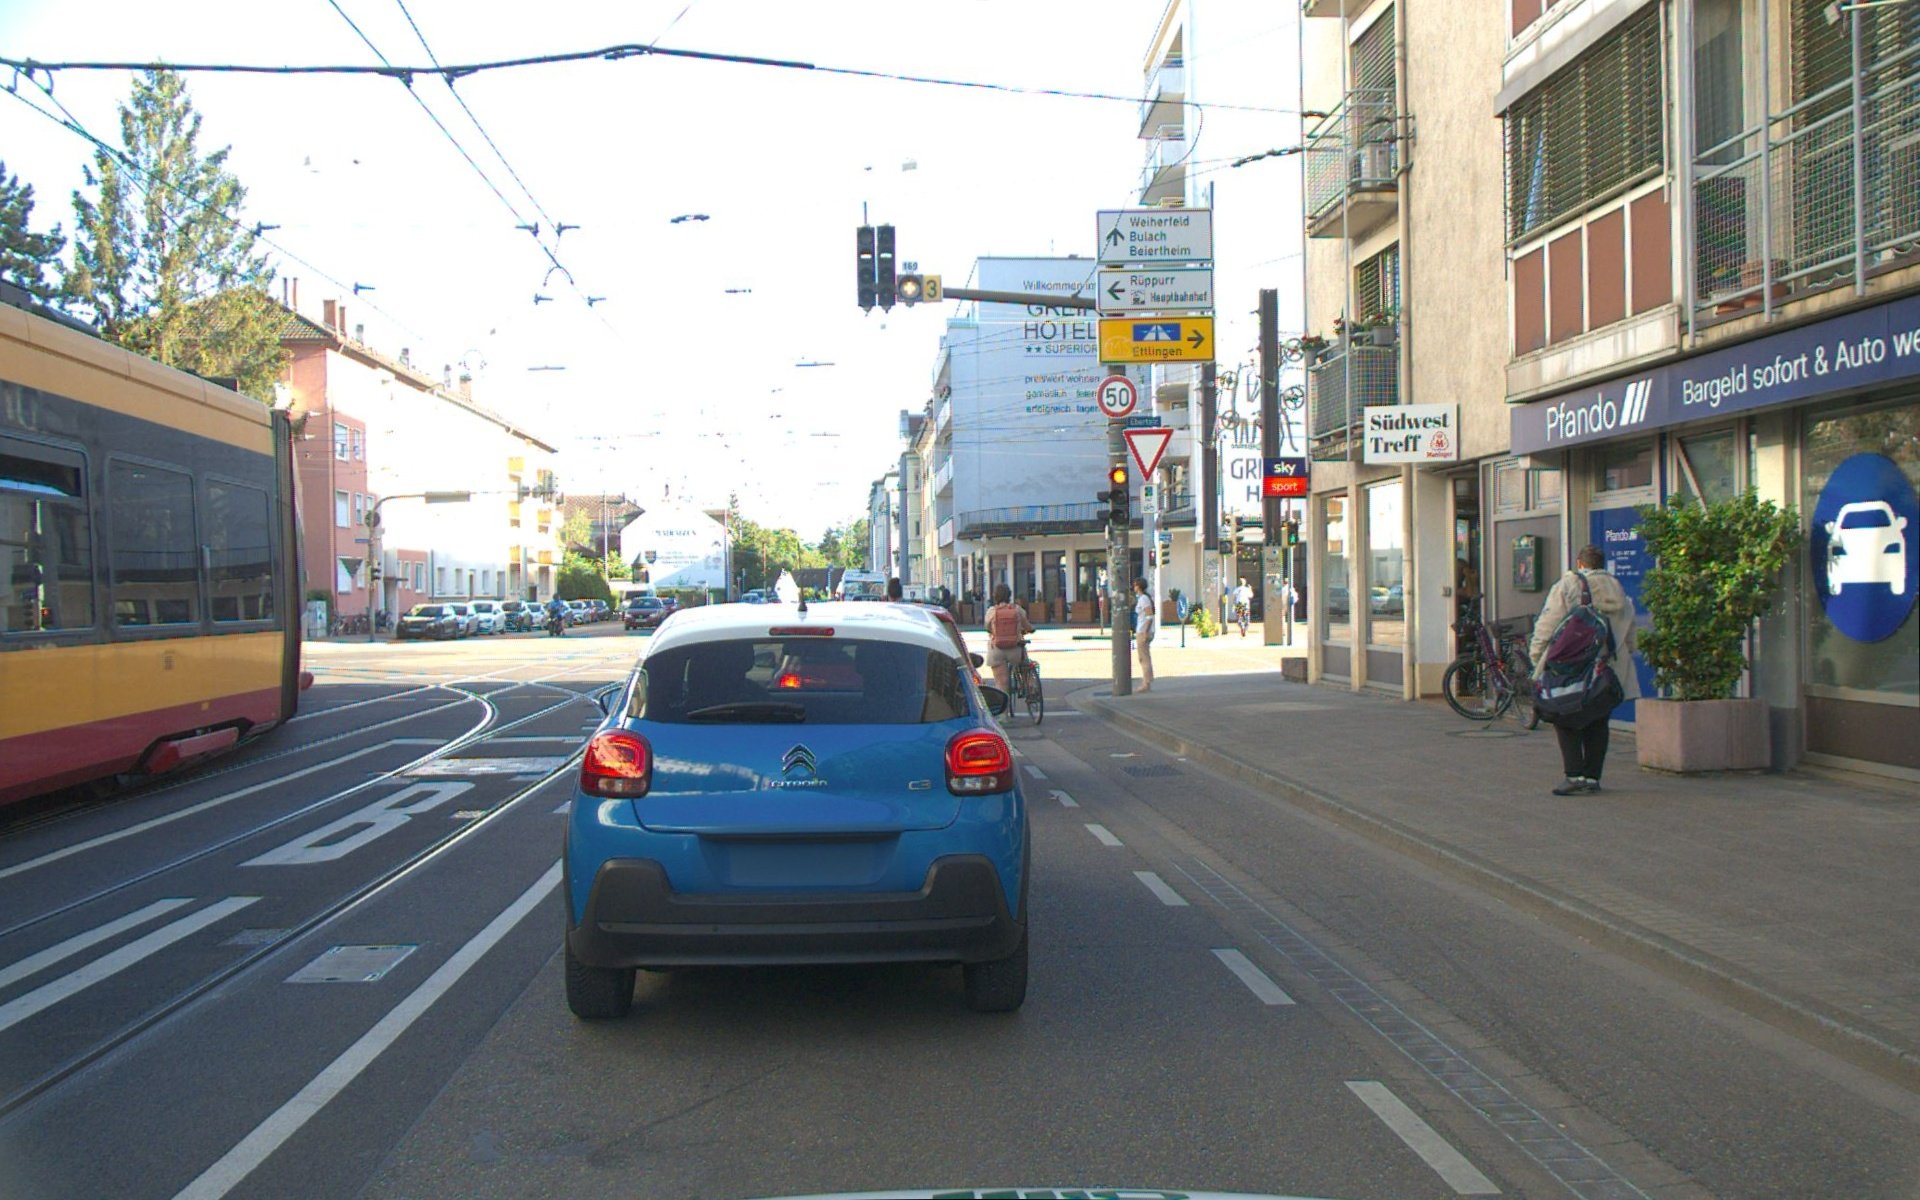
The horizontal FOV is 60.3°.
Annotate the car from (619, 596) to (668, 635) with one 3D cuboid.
[{"bbox_3d":[-14.548,0.694,76.140,1.740,1.695,3.853,1,0,-4],"label":"car"}]

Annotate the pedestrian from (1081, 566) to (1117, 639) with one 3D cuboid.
[{"bbox_3d":[3.945,0.075,47.037,0.907,2.049,0.759,1,-1,-1],"label":"pedestrian"}]

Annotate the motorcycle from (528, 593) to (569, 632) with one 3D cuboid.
[{"bbox_3d":[-16.458,0.504,66.225,0.905,1.512,3.723,1,0,-4],"label":"motorcycle"}]

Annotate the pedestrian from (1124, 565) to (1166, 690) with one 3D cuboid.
[{"bbox_3d":[2.708,0.399,24.257,0.507,1.814,0.595,1,-1,-3],"label":"pedestrian"}]

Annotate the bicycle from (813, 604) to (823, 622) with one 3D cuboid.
[{"bbox_3d":[-7.236,0.649,84.346,0.342,0.919,1.855,1,0,-9],"label":"bicycle"}]

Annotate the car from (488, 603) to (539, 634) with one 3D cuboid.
[{"bbox_3d":[-23.095,0.955,85.716,1.750,1.524,3.997,1,0,-4],"label":"car"}]

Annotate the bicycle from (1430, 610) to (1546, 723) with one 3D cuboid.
[{"bbox_3d":[5.042,0.613,15.882,0.531,1.016,1.705,1,0,-1],"label":"bicycle"}]

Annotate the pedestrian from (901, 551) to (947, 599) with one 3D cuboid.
[{"bbox_3d":[-1.604,-1.077,73.537,1.953,2.049,3.999,1,0,-1],"label":"pedestrian"}]

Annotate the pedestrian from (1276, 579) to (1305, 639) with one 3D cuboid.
[{"bbox_3d":[9.417,0.260,47.111,0.736,1.686,0.884,1,-1,8],"label":"pedestrian"}]

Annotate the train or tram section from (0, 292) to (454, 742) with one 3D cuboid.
[{"bbox_3d":[-8.630,-0.667,20.710,2.695,3.695,14.228,1,0,-10],"label":"train or tram section"}]

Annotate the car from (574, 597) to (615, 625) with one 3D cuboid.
[{"bbox_3d":[-23.396,0.704,105.947,1.944,1.716,3.997,1,0,-4],"label":"car"}]

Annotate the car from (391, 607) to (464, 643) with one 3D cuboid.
[{"bbox_3d":[-21.978,1.016,68.414,1.757,1.446,3.994,1,0,-2],"label":"car"}]

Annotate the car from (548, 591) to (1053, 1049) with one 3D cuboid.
[{"bbox_3d":[-0.542,0.727,7.160,1.620,1.469,3.522,1,0,-1],"label":"car"}]

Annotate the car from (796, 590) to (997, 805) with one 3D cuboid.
[{"bbox_3d":[-0.468,0.697,13.157,1.395,1.493,2.923,-1,0,-1],"label":"car"}]

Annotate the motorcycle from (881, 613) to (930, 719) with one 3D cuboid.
[{"bbox_3d":[-0.622,0.736,19.429,0.515,1.159,2.289,1,0,-1],"label":"motorcycle"}]

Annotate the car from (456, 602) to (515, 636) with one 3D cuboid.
[{"bbox_3d":[-22.666,0.890,79.117,1.751,1.537,4.148,1,0,-2],"label":"car"}]

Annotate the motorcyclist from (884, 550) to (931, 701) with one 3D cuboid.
[{"bbox_3d":[-0.614,0.295,19.619,0.516,1.746,0.717,1,-1,-1],"label":"motorcyclist"}]

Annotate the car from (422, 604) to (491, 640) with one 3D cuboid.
[{"bbox_3d":[-22.186,0.961,73.013,1.778,1.524,4.299,1,0,-1],"label":"car"}]

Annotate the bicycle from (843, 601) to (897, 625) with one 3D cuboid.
[{"bbox_3d":[-3.602,0.533,66.164,2.093,0.917,0.366,1,-1,-10],"label":"bicycle"}]

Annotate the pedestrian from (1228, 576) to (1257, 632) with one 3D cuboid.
[{"bbox_3d":[8.259,0.121,48.306,0.721,1.629,0.749,1,-1,1],"label":"pedestrian"}]

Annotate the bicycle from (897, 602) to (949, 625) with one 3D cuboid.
[{"bbox_3d":[-1.502,0.561,67.638,2.093,0.917,0.366,1,-1,-10],"label":"bicycle"}]

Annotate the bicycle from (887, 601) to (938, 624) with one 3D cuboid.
[{"bbox_3d":[-1.963,0.508,68.282,2.093,0.917,0.366,1,-1,-10],"label":"bicycle"}]

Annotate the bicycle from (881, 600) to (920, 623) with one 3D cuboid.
[{"bbox_3d":[-2.491,0.491,69.297,1.751,0.917,0.365,1,-1,34],"label":"bicycle"}]

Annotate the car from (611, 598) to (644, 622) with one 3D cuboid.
[{"bbox_3d":[-24.314,0.716,120.967,1.809,1.716,3.871,1,0,-4],"label":"car"}]

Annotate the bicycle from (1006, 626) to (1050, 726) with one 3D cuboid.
[{"bbox_3d":[0.827,0.911,20.487,0.419,1.142,1.998,1,0,-1],"label":"bicycle"}]

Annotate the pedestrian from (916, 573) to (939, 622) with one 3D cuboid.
[{"bbox_3d":[-1.365,-0.097,69.160,0.625,2.049,0.715,1,-1,-37],"label":"pedestrian"}]

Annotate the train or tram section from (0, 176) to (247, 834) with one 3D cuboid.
[{"bbox_3d":[-6.783,-0.546,9.166,2.772,3.694,9.068,1,0,-8],"label":"train or tram section"}]

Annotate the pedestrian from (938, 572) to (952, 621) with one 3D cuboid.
[{"bbox_3d":[-0.637,-0.153,70.225,0.565,2.049,0.625,1,-1,-3],"label":"pedestrian"}]

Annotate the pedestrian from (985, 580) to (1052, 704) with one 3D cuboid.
[{"bbox_3d":[0.710,0.506,20.239,0.761,1.486,0.681,1,-1,-1],"label":"pedestrian"}]

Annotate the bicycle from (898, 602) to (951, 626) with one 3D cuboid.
[{"bbox_3d":[-1.438,0.575,67.230,2.093,0.917,0.366,1,-1,-10],"label":"bicycle"}]

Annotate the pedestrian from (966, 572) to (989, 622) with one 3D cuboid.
[{"bbox_3d":[0.726,-0.127,68.773,0.700,2.049,0.753,1,-1,-26],"label":"pedestrian"}]

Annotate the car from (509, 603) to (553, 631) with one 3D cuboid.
[{"bbox_3d":[-23.746,0.924,91.689,1.699,1.524,3.996,1,0,-5],"label":"car"}]

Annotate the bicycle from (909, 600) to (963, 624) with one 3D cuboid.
[{"bbox_3d":[-0.954,0.490,65.904,2.093,0.917,0.366,1,-1,-10],"label":"bicycle"}]

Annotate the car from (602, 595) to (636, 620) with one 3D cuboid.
[{"bbox_3d":[-23.948,0.547,116.372,1.797,1.716,3.997,1,0,-4],"label":"car"}]

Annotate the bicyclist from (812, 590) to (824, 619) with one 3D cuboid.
[{"bbox_3d":[-7.228,0.229,84.248,0.550,1.503,0.746,1,-1,-10],"label":"bicyclist"}]

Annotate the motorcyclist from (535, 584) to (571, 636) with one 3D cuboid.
[{"bbox_3d":[-16.455,0.403,66.832,1.162,2.049,1.274,-1,0,-4],"label":"motorcyclist"}]

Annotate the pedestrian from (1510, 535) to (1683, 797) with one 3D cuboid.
[{"bbox_3d":[4.089,0.413,10.674,0.808,1.620,0.751,1,-1,-1],"label":"pedestrian"}]

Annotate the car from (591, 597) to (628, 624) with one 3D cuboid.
[{"bbox_3d":[-23.529,0.688,111.024,1.845,1.716,3.997,1,0,-4],"label":"car"}]
